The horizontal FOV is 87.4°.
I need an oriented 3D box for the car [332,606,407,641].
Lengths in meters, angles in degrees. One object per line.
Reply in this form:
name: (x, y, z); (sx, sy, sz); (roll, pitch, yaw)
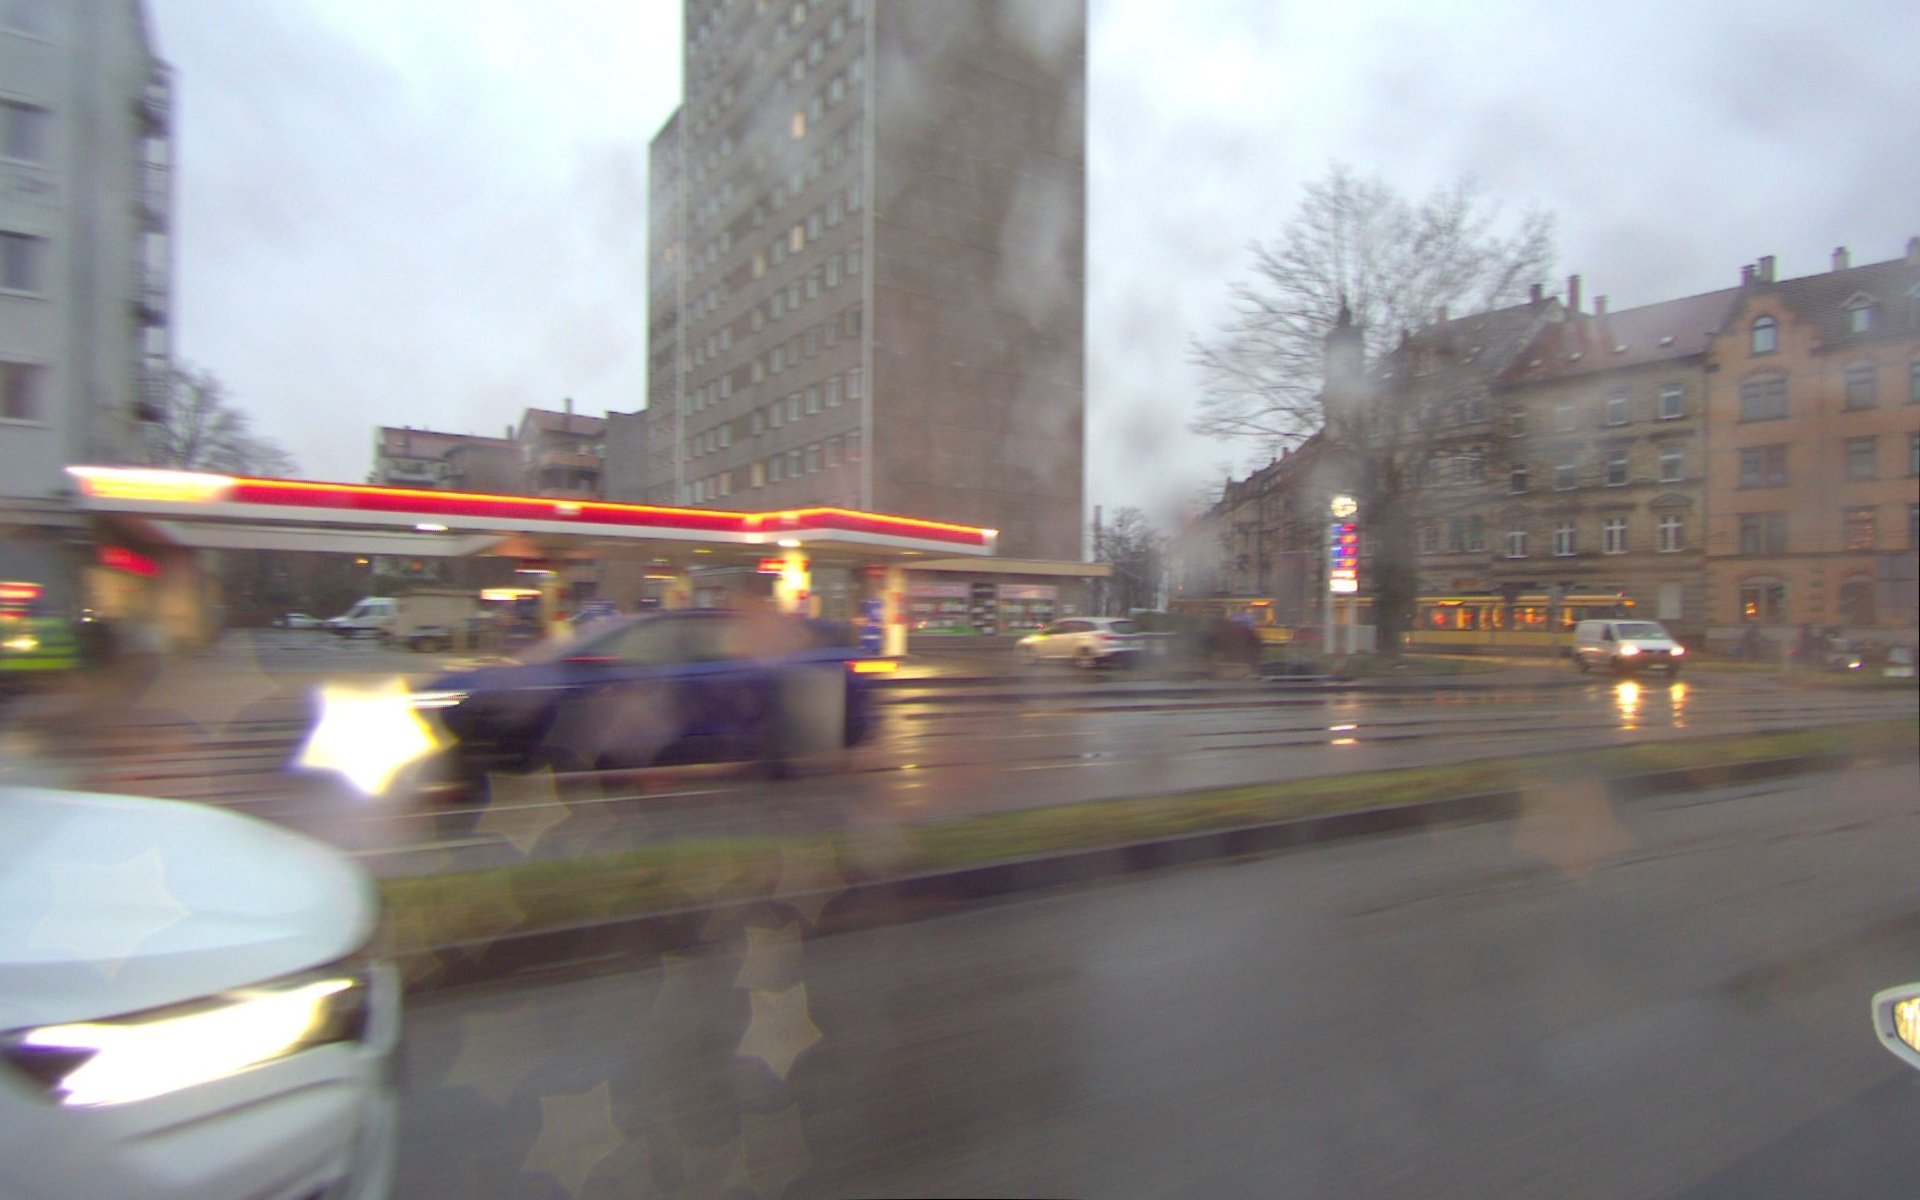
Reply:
car: (-37.566, 1.494, 63.948); (3.960, 2.140, 1.981); (1, -1, -35)

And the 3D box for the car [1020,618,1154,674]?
car: (3.745, 1.333, 30.142); (1.763, 1.550, 3.958); (1, -1, -37)

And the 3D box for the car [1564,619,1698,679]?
car: (23.861, 1.776, 35.980); (1.959, 1.971, 4.859); (-1, -3, 7)

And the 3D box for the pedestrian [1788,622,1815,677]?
pedestrian: (27.990, 1.637, 33.412); (0.528, 1.816, 0.620); (0, 0, -44)

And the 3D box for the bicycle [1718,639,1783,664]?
bicycle: (30.833, 1.993, 39.209); (1.950, 0.912, 0.505); (0, 0, 32)

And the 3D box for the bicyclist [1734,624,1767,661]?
bicyclist: (30.840, 1.654, 39.206); (0.952, 1.409, 0.505); (0, 0, 31)

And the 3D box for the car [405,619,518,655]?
car: (-20.615, 1.524, 41.574); (3.959, 1.399, 1.944); (1, -1, -34)

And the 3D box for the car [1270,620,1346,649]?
car: (19.239, 1.881, 55.693); (1.631, 1.469, 3.818); (1, -1, -32)

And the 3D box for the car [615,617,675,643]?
car: (-22.312, 2.111, 71.083); (3.940, 1.751, 1.990); (1, -1, -21)

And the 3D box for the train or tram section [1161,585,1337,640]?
train or tram section: (18.258, 0.706, 64.477); (3.143, 3.280, 11.021); (1, 0, -40)

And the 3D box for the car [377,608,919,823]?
car: (-2.813, 0.925, 9.549); (4.599, 1.652, 1.640); (0, -1, -27)

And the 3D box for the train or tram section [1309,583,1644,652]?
train or tram section: (26.918, 0.751, 54.035); (3.143, 3.231, 16.119); (1, 0, -40)

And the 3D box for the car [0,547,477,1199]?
car: (-2.922, 0.685, 1.398); (3.953, 1.506, 1.618); (0, -1, -31)
